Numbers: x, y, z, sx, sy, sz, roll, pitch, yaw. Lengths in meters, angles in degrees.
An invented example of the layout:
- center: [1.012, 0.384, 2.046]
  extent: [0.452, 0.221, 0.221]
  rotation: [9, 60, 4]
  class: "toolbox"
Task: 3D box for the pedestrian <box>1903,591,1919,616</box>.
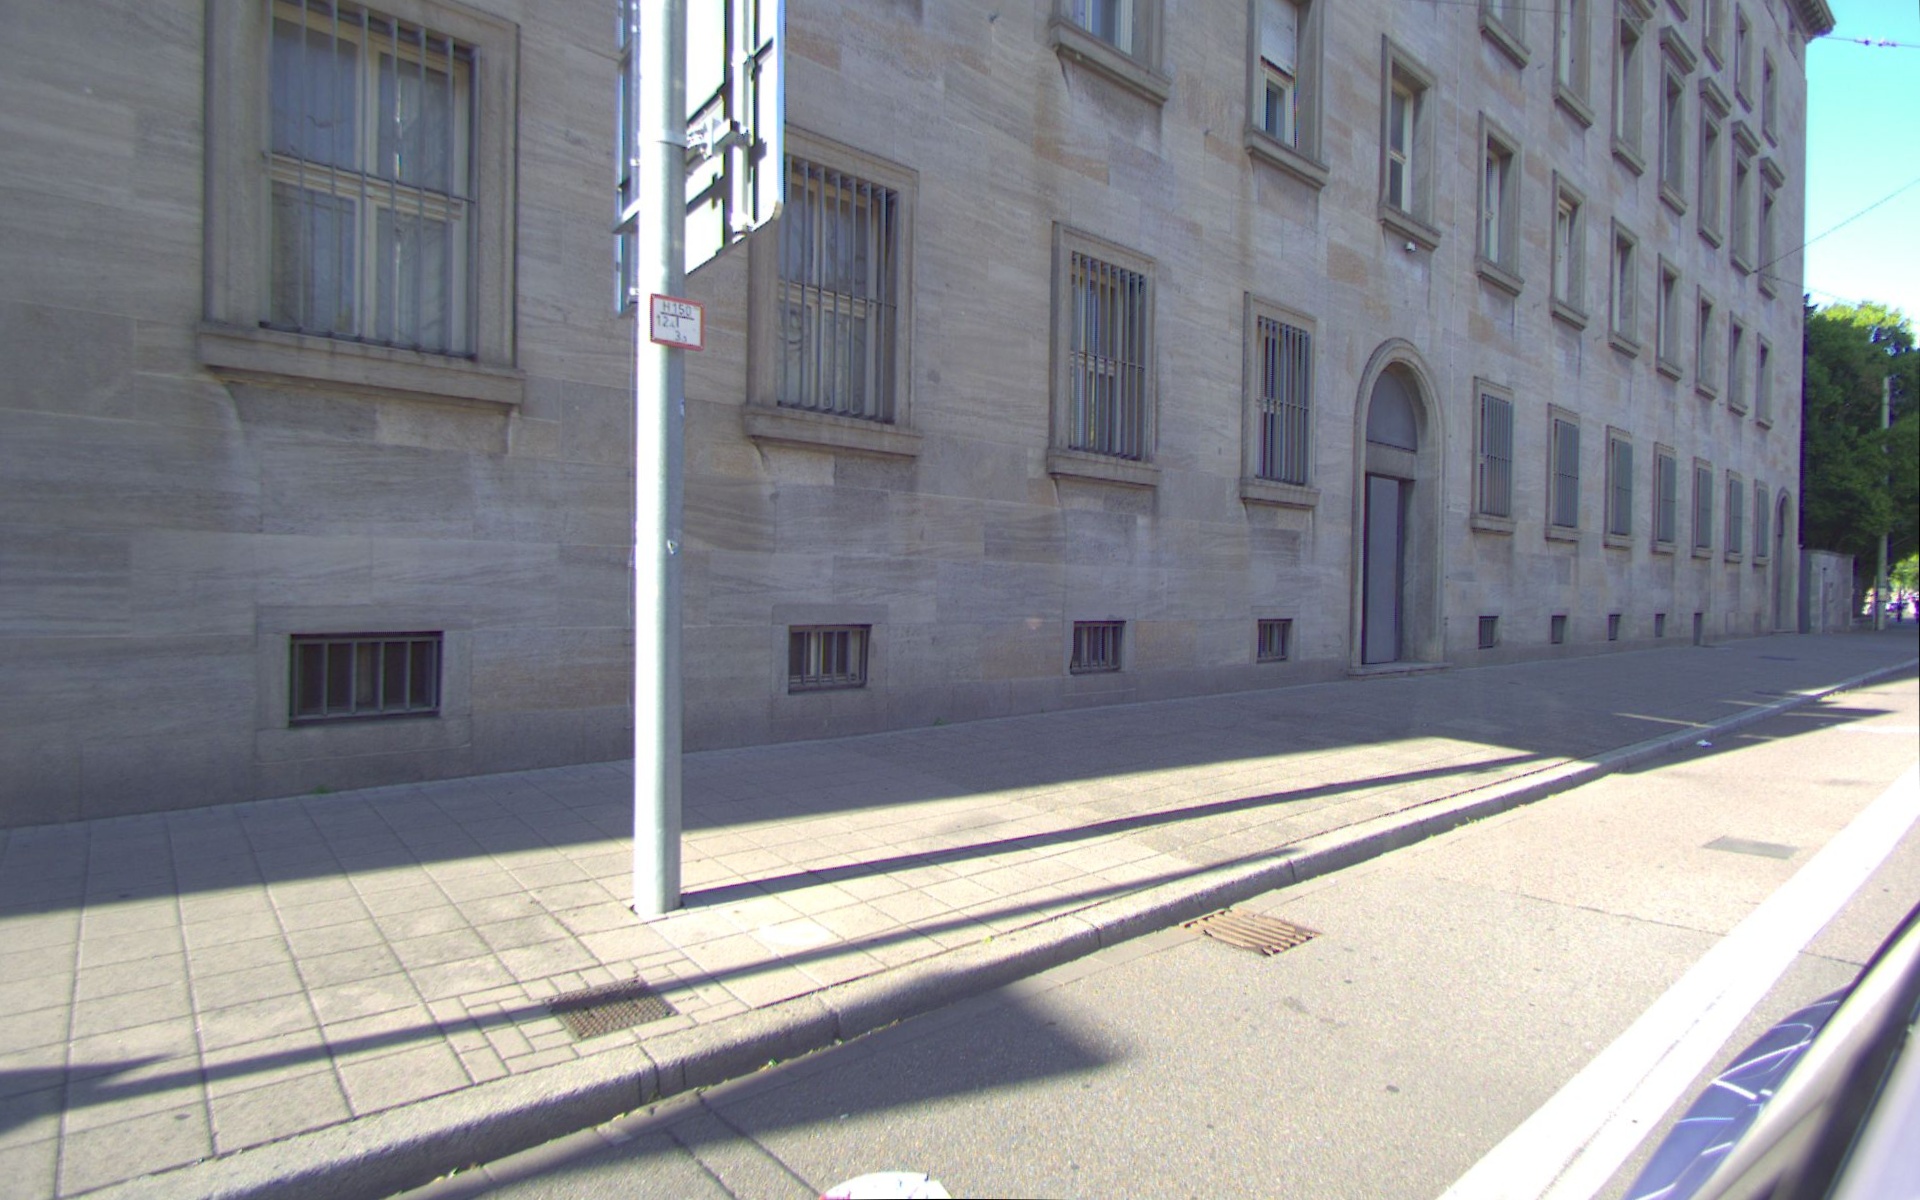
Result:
- center: [69.502, 0.252, 73.951]
  extent: [0.828, 1.742, 0.792]
  rotation: [1, 1, 43]
  class: "pedestrian"
